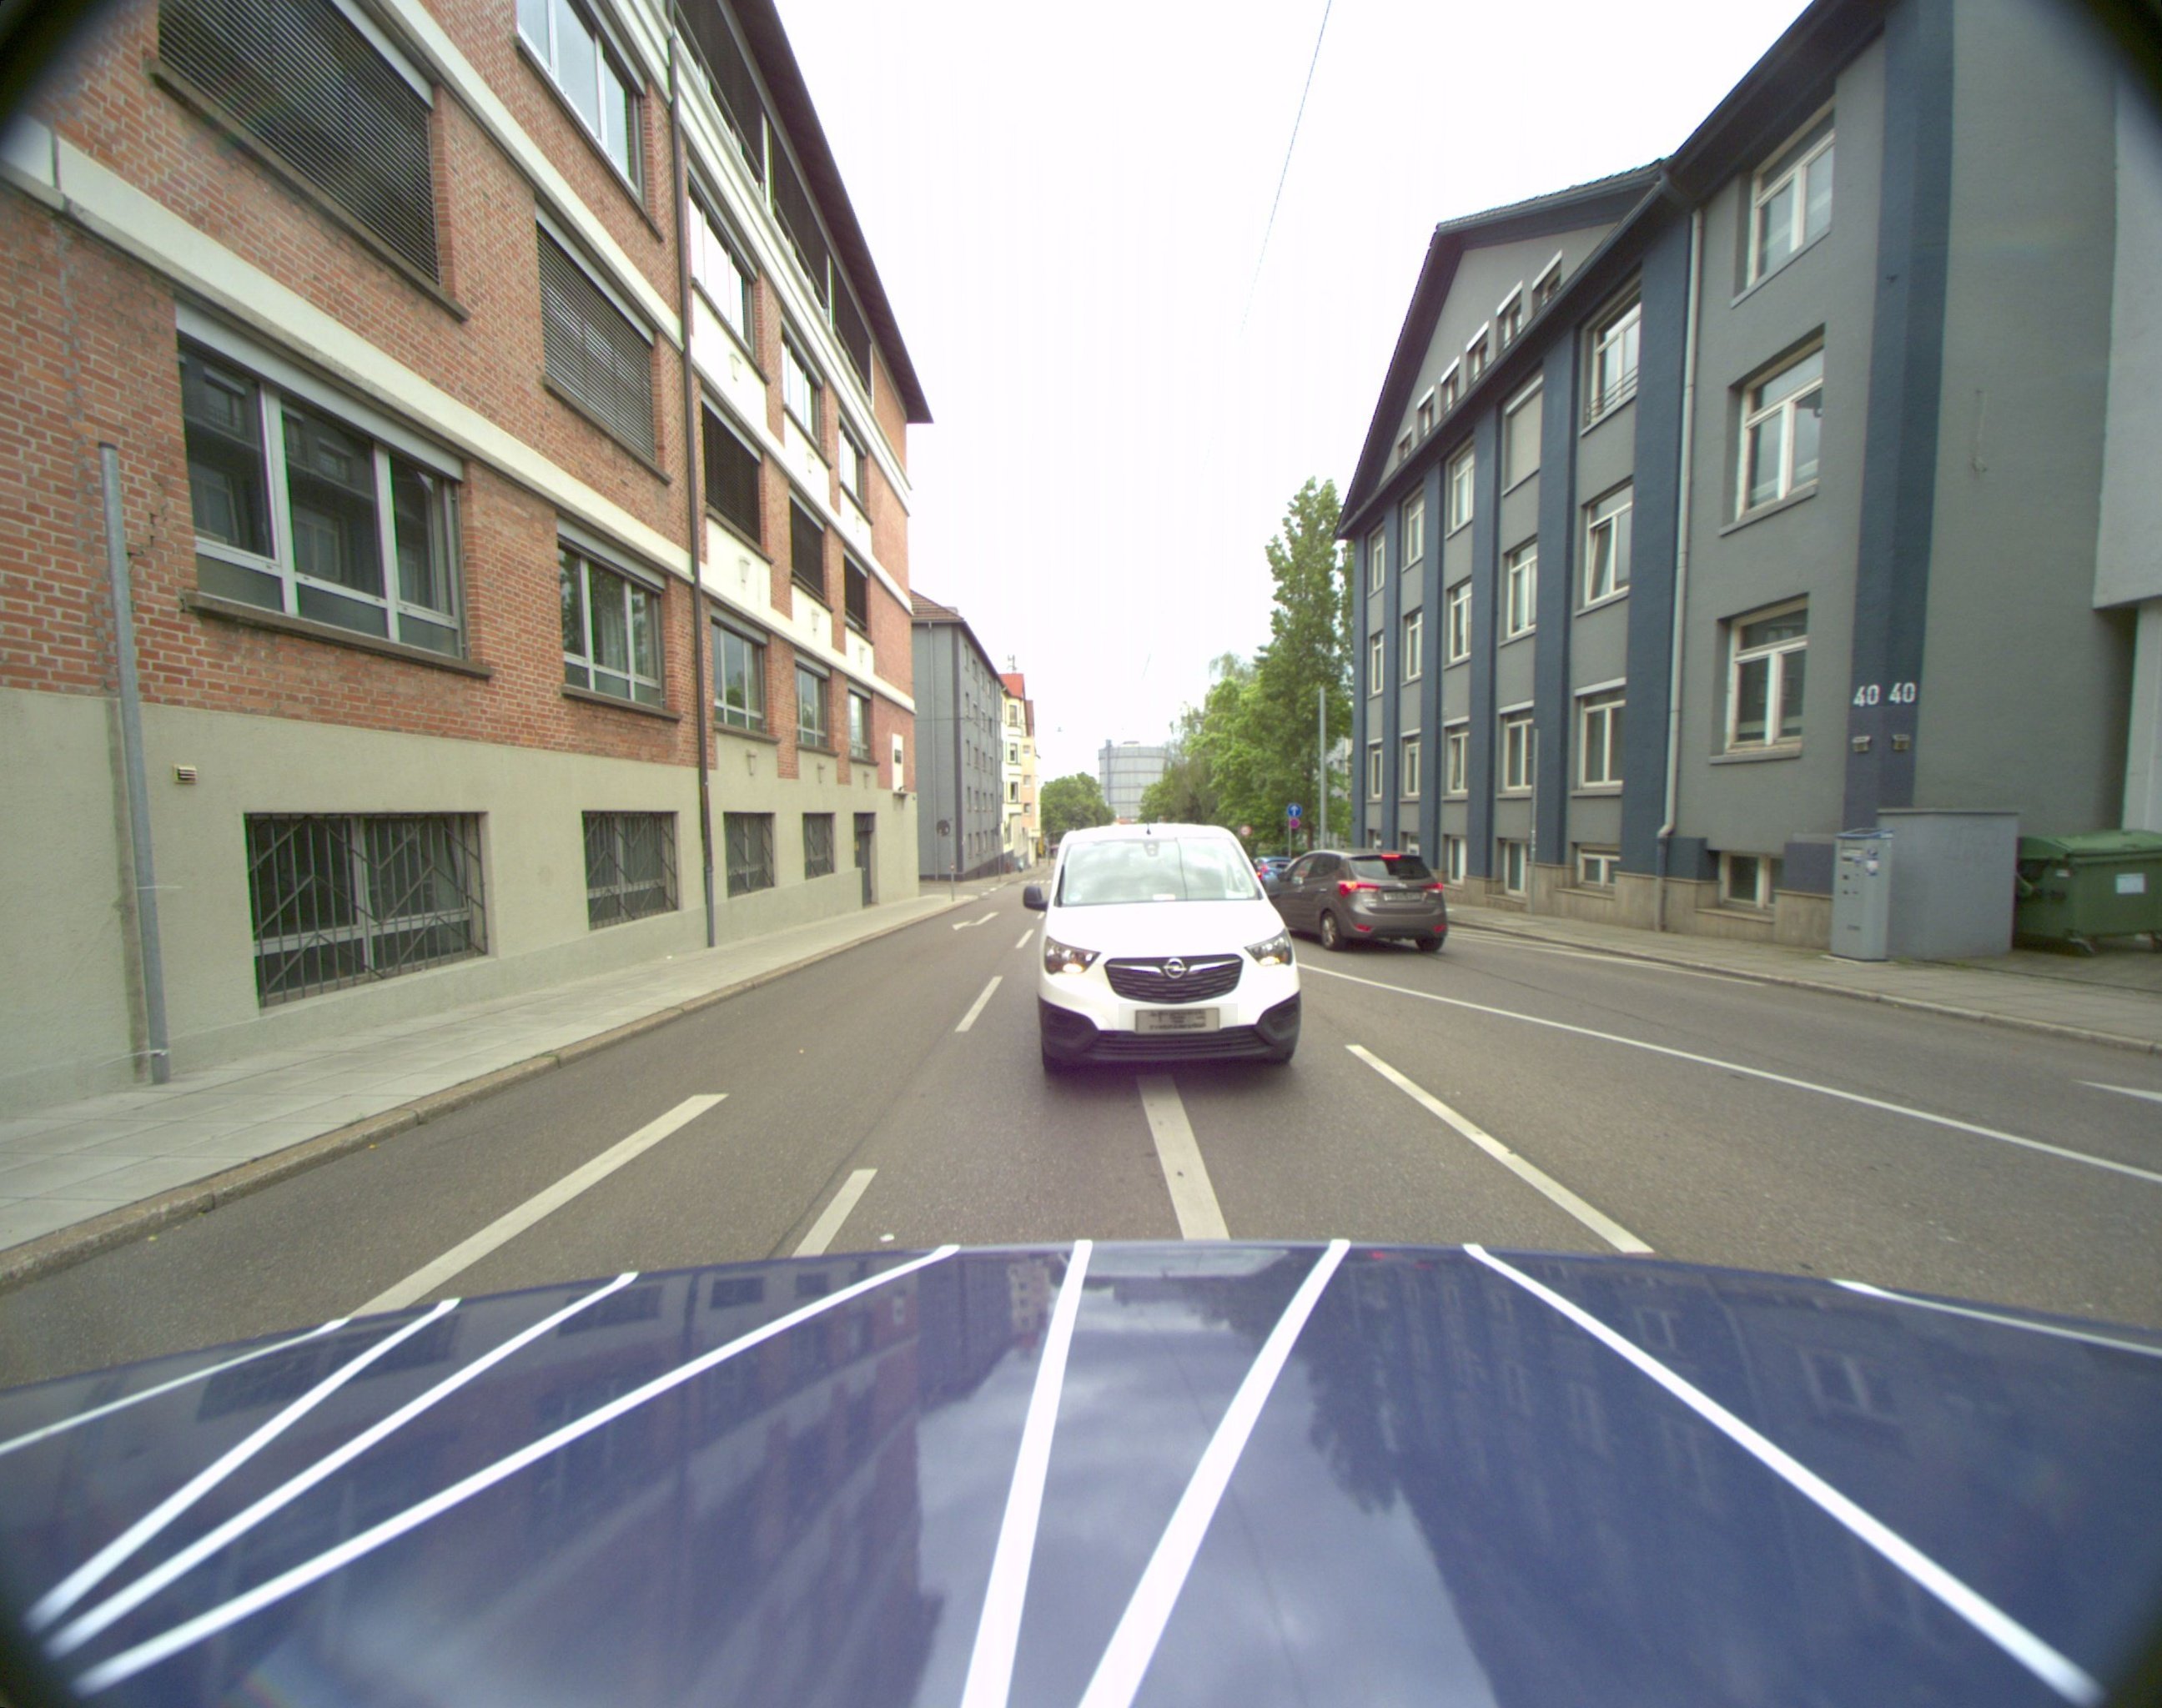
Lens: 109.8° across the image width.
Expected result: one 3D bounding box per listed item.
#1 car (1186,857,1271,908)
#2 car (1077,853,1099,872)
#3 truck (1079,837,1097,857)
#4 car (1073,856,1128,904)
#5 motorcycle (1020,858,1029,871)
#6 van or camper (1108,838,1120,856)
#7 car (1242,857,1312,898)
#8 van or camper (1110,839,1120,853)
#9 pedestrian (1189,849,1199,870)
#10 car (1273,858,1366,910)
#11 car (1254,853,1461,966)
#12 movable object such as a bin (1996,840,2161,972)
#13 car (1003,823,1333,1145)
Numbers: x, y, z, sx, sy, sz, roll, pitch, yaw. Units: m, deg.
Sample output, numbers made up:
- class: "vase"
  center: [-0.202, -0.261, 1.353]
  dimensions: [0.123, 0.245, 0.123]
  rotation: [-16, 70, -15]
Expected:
- class: "car"
  center: [4.495, 0.834, 23.700]
  dimensions: [1.678, 1.392, 3.793]
  rotation: [2, 0, -3]
- class: "car"
  center: [0.573, 0.671, 62.636]
  dimensions: [1.724, 1.486, 3.727]
  rotation: [1, 0, 2]
- class: "truck"
  center: [1.296, -1.201, 139.351]
  dimensions: [2.980, 3.394, 9.358]
  rotation: [-2, 0, 1]
- class: "car"
  center: [0.672, 0.833, 25.813]
  dimensions: [1.724, 1.486, 3.727]
  rotation: [1, 0, 2]
- class: "motorcycle"
  center: [-5.091, 0.928, 68.574]
  dimensions: [0.566, 1.105, 1.653]
  rotation: [4, 0, 2]
- class: "van or camper"
  center: [5.171, -1.028, 119.940]
  dimensions: [1.914, 2.754, 5.925]
  rotation: [1, 0, 2]
- class: "car"
  center: [7.568, 0.861, 29.682]
  dimensions: [1.724, 1.445, 3.727]
  rotation: [1, 0, 0]
- class: "van or camper"
  center: [6.711, -1.563, 149.789]
  dimensions: [1.914, 2.754, 5.925]
  rotation: [1, 0, 2]
- class: "pedestrian"
  center: [10.009, 0.447, 67.558]
  dimensions: [0.746, 1.839, 0.776]
  rotation: [-1, 1, 2]
- class: "car"
  center: [7.478, 0.886, 24.228]
  dimensions: [1.819, 1.465, 3.869]
  rotation: [2, 0, 2]
- class: "car"
  center: [4.441, 0.805, 12.888]
  dimensions: [1.709, 1.578, 3.934]
  rotation: [2, 0, -6]
- class: "movable object such as a bin"
  center: [12.105, 0.597, 9.108]
  dimensions: [1.267, 1.448, 0.784]
  rotation: [-3, 2, 4]
- class: "car"
  center: [0.550, 0.744, 6.864]
  dimensions: [1.840, 1.797, 4.939]
  rotation: [-2, 0, 1]
